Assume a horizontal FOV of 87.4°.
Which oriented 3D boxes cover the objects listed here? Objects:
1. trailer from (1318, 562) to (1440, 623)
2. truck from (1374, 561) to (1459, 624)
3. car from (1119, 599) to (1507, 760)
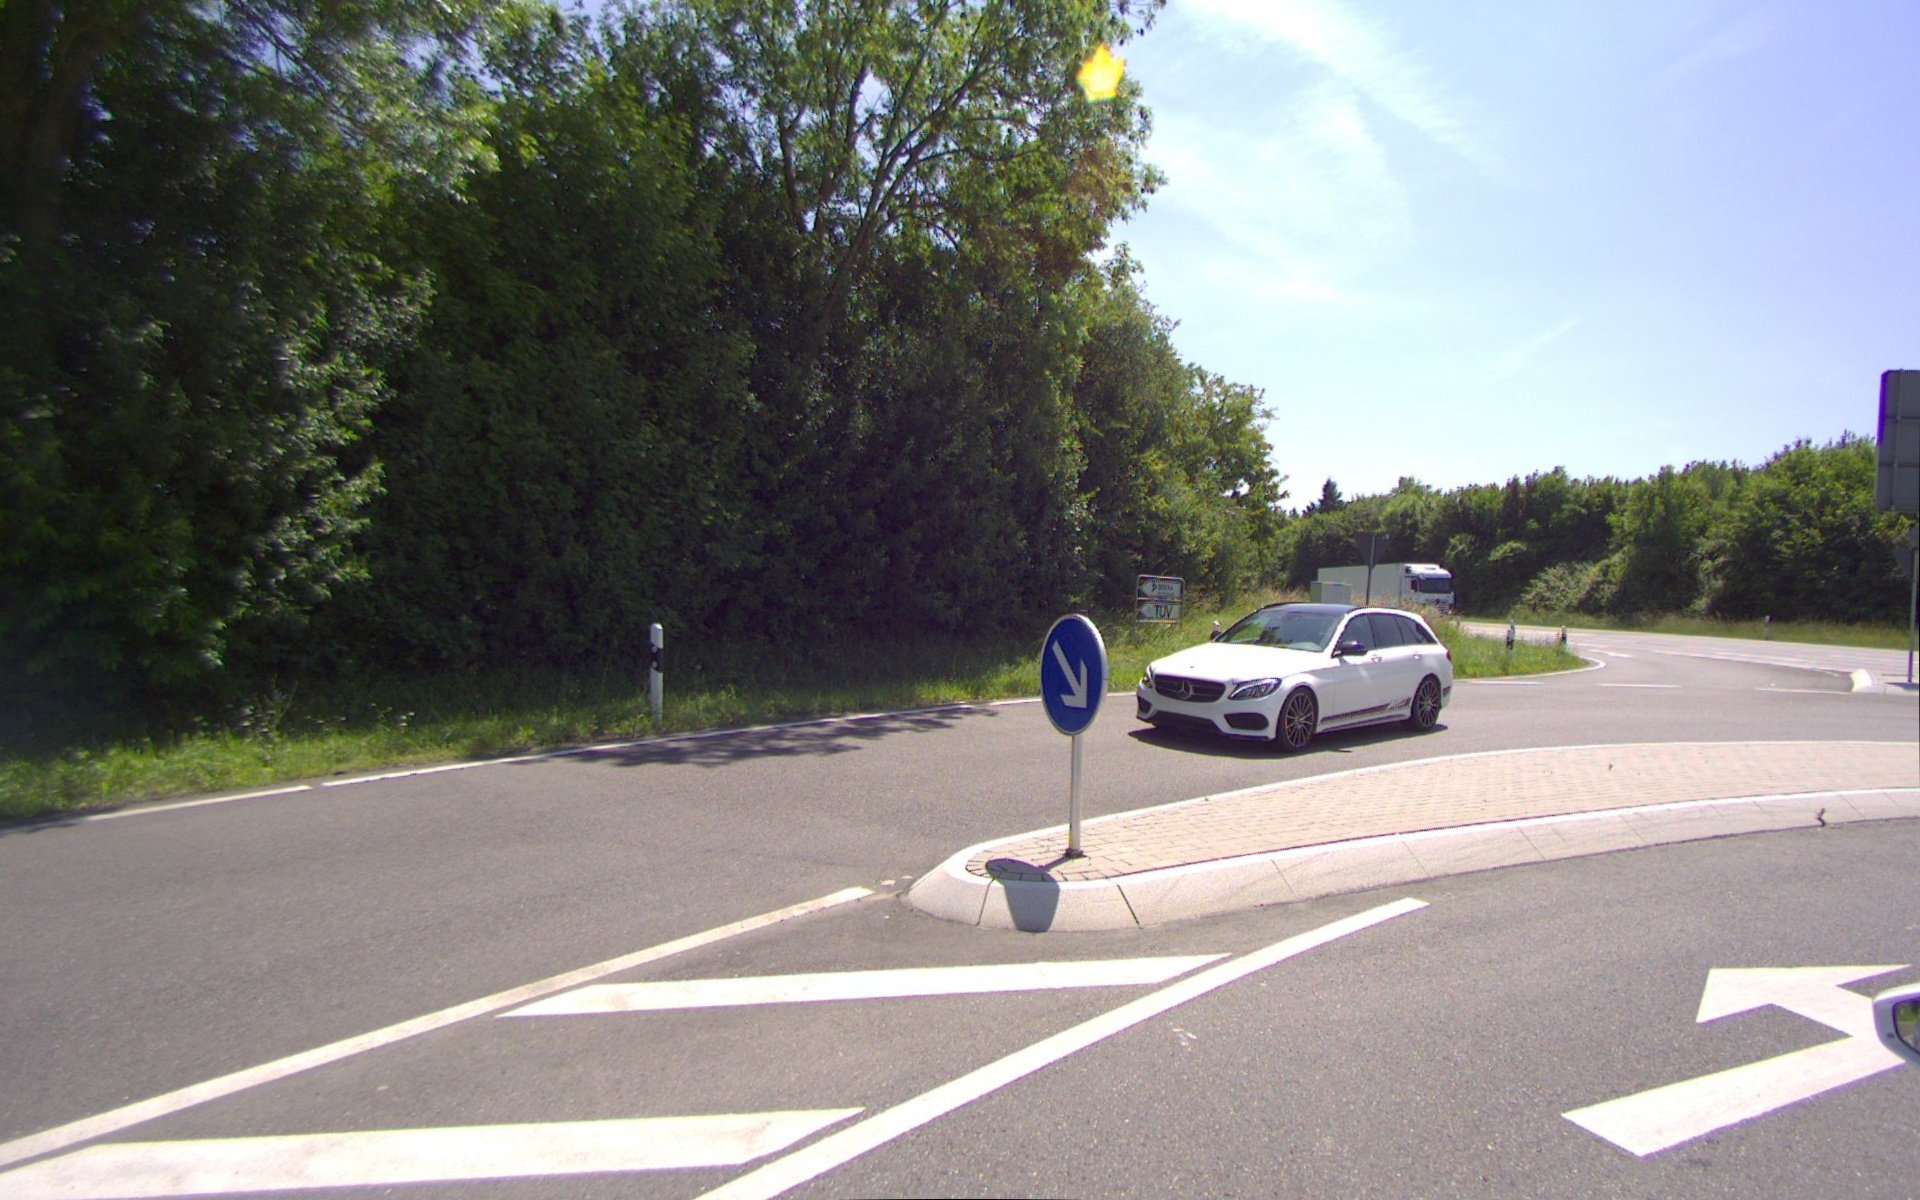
[{"bbox_3d":[30.885,-0.596,75.028,2.609,4.091,13.830,1,1,-3],"label":"trailer"},{"bbox_3d":[31.228,-0.489,68.938,2.610,4.090,6.277,1,1,-4],"label":"truck"},{"bbox_3d":[4.331,0.777,11.797,5.289,1.431,1.789,1,2,-40],"label":"car"}]
